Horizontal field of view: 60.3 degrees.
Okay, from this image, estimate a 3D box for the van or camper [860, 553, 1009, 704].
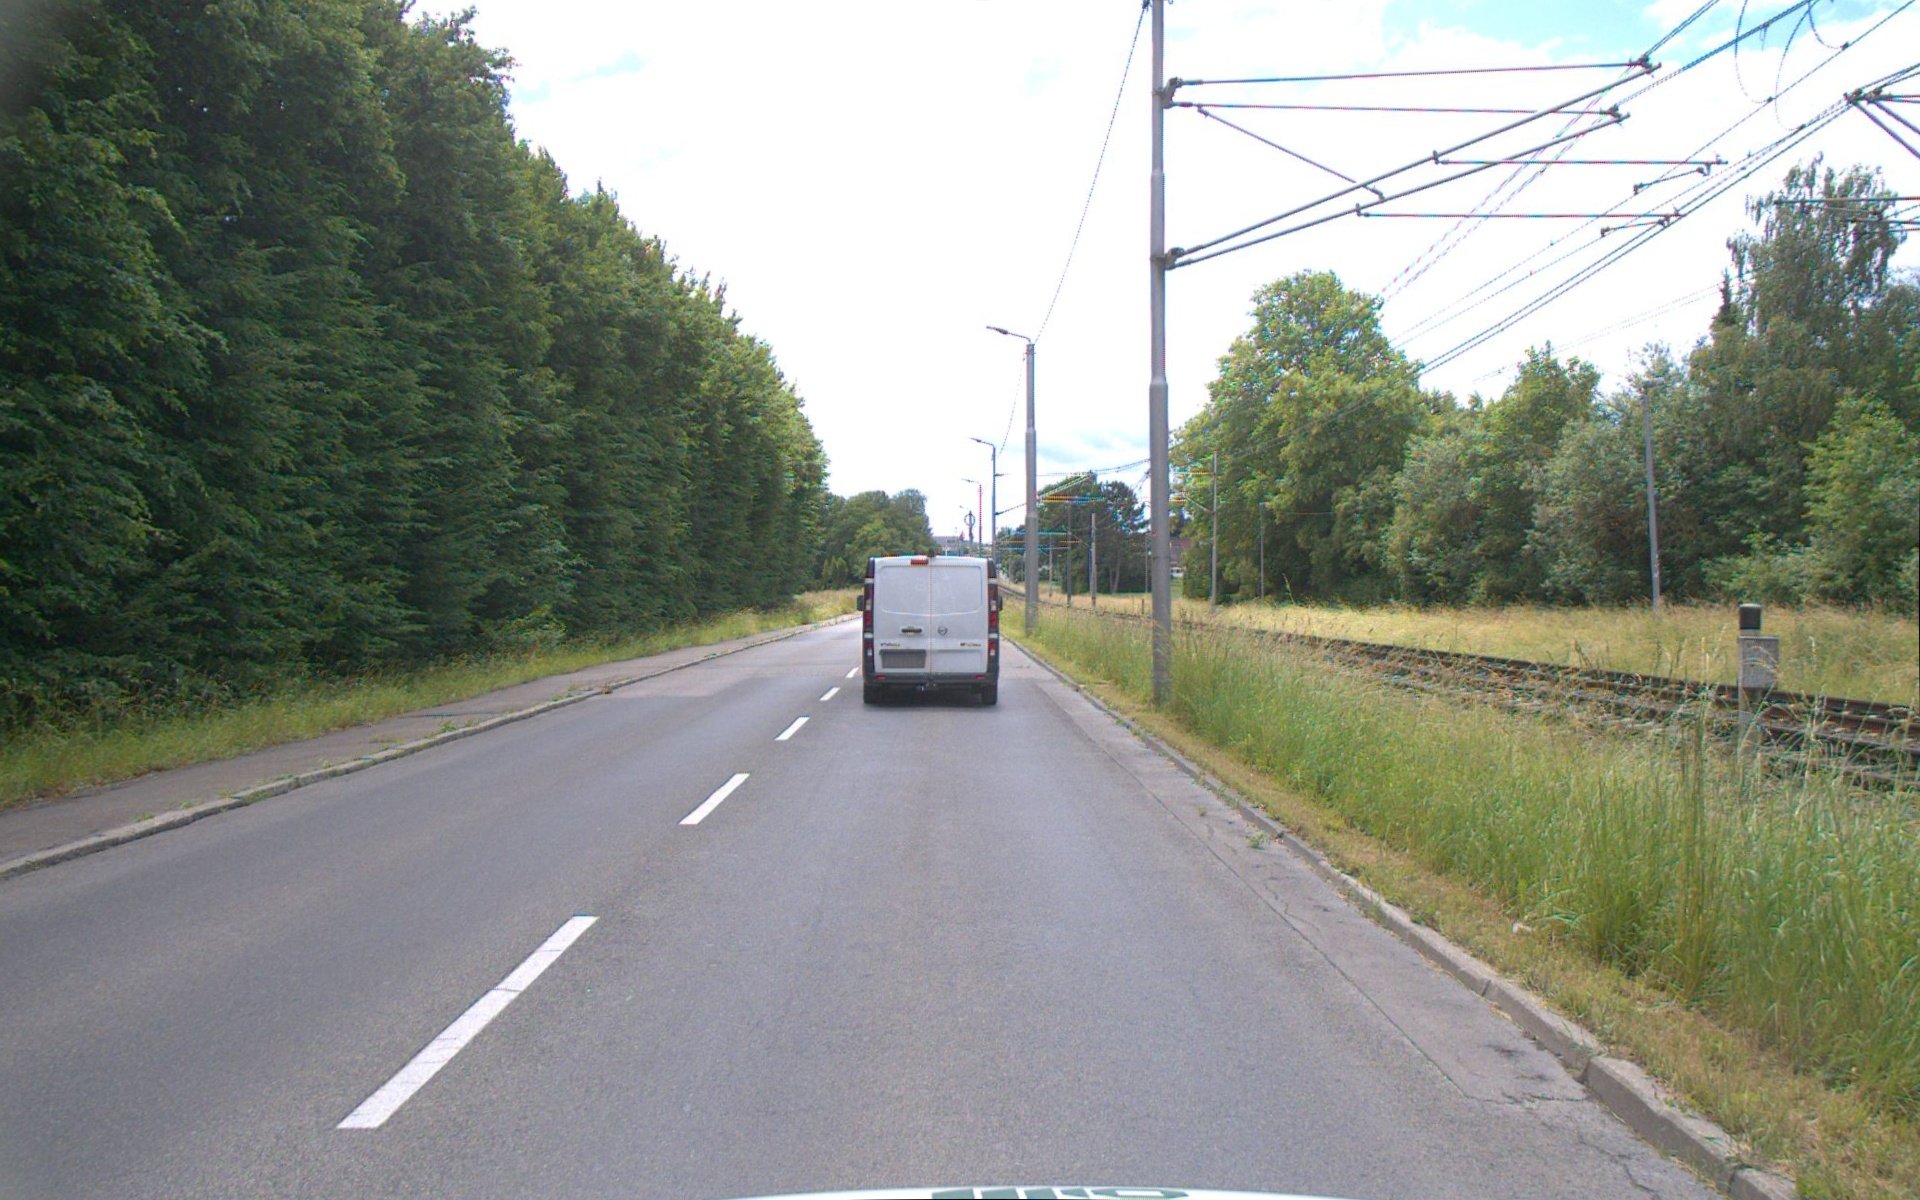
[{"bbox_3d":[-0.334,0.368,23.352,1.902,1.930,4.284,0,0,0],"label":"van or camper"}]
